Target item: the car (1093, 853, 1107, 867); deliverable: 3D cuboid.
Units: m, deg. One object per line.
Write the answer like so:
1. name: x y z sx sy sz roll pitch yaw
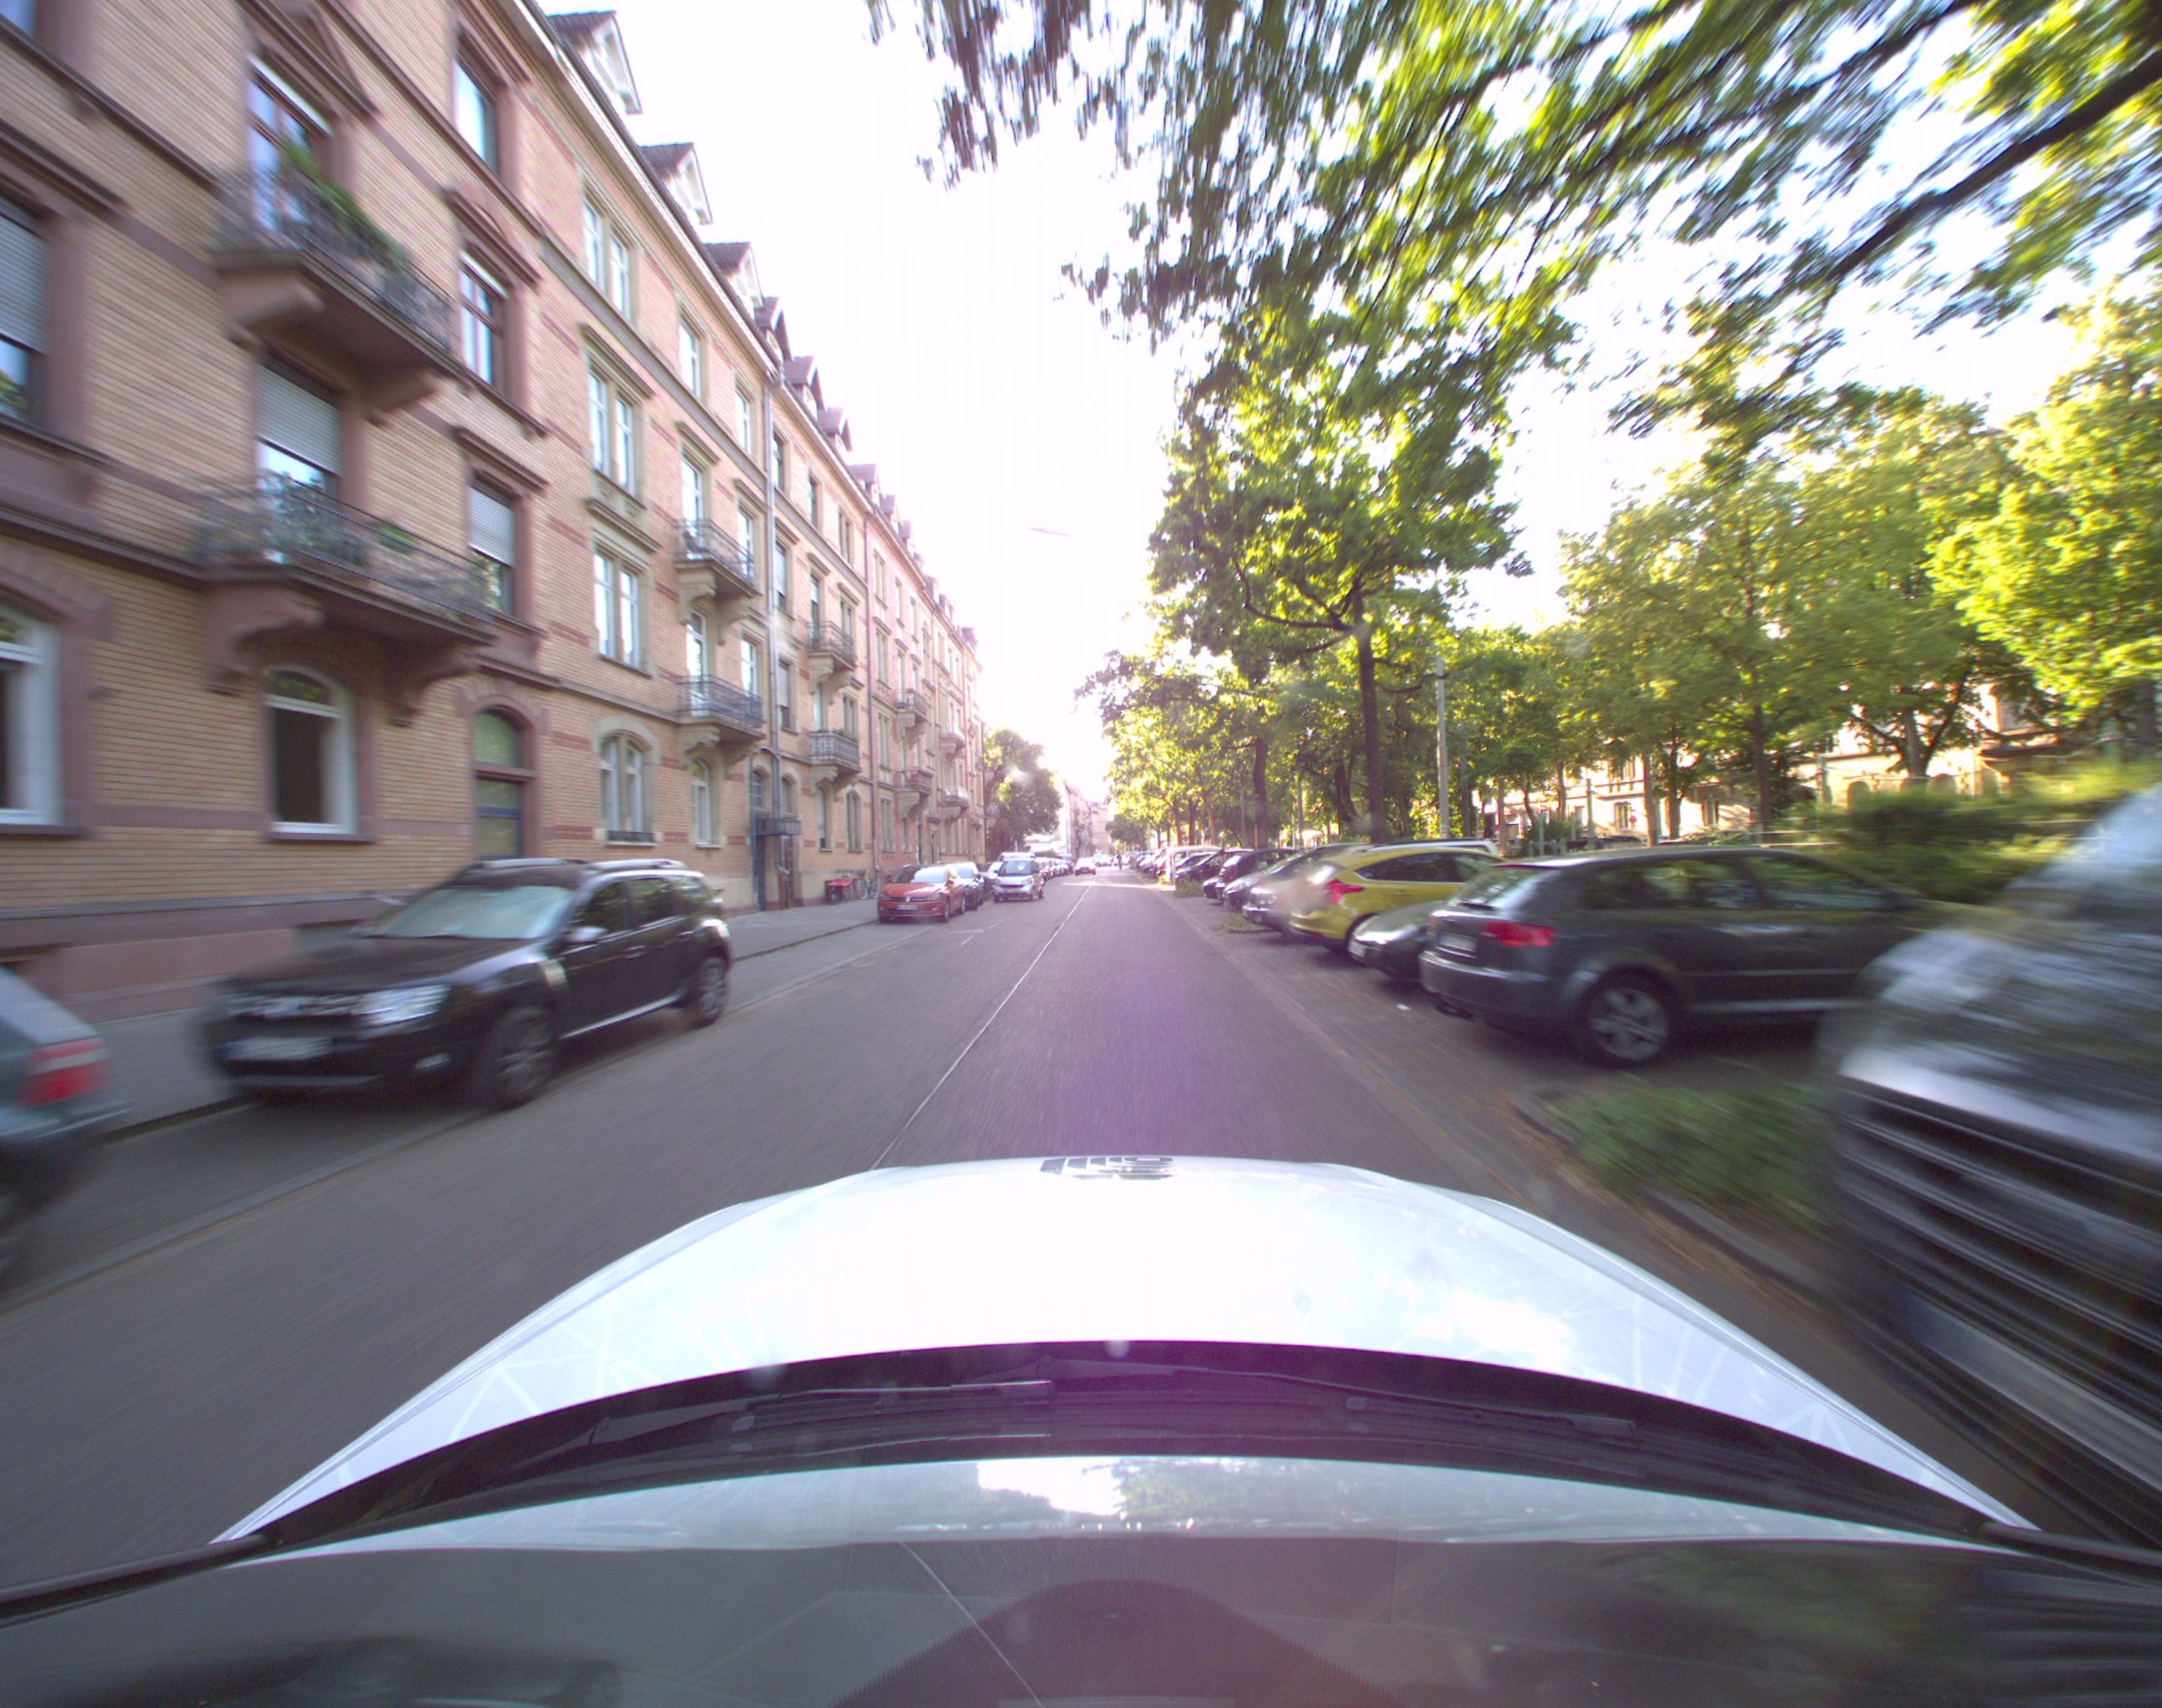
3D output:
1. car: 2.823 0.857 118.415 1.986 1.838 4.000 -1 -2 1

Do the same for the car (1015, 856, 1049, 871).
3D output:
1. car: -6.182 1.191 103.018 3.970 1.706 2.001 -1 -2 3

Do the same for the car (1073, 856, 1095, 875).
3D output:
1. car: 0.270 0.965 69.845 1.662 1.464 4.001 -3 0 1

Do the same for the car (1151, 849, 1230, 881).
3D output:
1. car: 6.170 0.620 46.249 4.202 1.453 1.866 -4 -1 3

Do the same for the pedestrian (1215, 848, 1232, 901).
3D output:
1. pedestrian: 4.388 0.635 25.038 0.377 1.584 0.522 -2 2 21

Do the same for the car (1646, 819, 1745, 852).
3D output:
1. car: 34.227 -1.000 45.463 3.971 1.684 2.001 -1 -2 2

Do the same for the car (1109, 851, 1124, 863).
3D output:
1. car: 5.185 0.476 120.027 1.774 1.674 4.481 -1 0 -3

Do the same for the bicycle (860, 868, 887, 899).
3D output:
1. bicycle: -7.969 1.133 31.280 0.424 1.130 1.771 -1 -2 6

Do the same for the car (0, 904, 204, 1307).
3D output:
1. car: -4.920 0.953 1.725 1.608 1.452 4.005 0 0 5

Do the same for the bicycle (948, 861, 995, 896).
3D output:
1. bicycle: -4.294 0.971 31.997 1.756 1.348 0.496 -1 -2 2

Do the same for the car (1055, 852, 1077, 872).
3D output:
1. car: -1.517 0.791 82.476 1.950 2.018 4.270 -1 0 2

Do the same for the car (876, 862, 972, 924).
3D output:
1. car: -4.073 0.962 21.745 1.747 1.464 4.000 0 0 0

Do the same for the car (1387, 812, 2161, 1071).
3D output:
1. car: 4.863 0.576 6.140 4.384 1.440 1.838 -3 -1 1

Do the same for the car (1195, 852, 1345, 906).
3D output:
1. car: 5.280 0.679 23.085 3.829 1.279 1.691 -3 -1 1

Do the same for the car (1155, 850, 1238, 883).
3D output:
1. car: 6.102 0.642 43.352 4.198 1.453 1.652 -4 -1 6

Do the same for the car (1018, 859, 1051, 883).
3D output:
1. car: -2.942 1.072 52.324 1.663 1.429 4.244 -1 0 3

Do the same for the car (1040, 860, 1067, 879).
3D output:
1. car: -2.279 1.279 68.287 1.748 1.466 4.274 -1 0 5

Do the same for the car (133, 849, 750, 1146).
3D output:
1. car: -4.597 0.846 6.853 1.745 1.706 4.202 -1 0 2

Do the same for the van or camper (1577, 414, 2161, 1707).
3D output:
1. van or camper: 4.182 0.290 1.316 5.389 2.027 2.032 -3 0 4

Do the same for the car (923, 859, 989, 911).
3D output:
1. car: -3.973 0.945 26.442 1.743 1.546 4.146 -1 -1 -4

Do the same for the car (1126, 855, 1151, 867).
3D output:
1. car: 10.178 1.222 143.630 3.959 2.014 2.007 -2 -2 13

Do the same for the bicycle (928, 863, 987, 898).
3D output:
1. bicycle: -4.491 0.957 29.534 2.091 1.215 0.439 -1 -2 -14

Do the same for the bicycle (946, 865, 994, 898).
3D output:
1. bicycle: -4.294 1.062 31.469 1.756 1.215 0.428 -1 -2 2

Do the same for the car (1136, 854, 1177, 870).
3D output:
1. car: 7.706 0.855 83.484 3.975 1.563 1.858 -1 -2 -1

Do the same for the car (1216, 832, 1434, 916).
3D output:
1. car: 5.417 0.450 18.508 4.381 1.591 1.839 -3 -1 3

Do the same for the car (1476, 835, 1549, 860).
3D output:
1. car: 32.051 -0.454 60.662 4.656 1.684 2.011 -2 -2 25

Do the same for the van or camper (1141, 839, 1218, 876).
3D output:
1. van or camper: 6.701 0.270 55.884 4.965 2.377 2.185 -1 -2 0

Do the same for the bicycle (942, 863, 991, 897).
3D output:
1. bicycle: -4.271 0.979 30.444 1.756 1.215 0.442 -1 -2 2

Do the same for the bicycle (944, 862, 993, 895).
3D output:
1. bicycle: -4.267 0.936 30.961 1.756 1.215 0.464 -1 -2 2

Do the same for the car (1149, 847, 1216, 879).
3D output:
1. car: 6.367 0.555 51.325 3.970 1.691 1.861 -4 -1 3

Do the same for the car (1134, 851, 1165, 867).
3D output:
1. car: 9.473 0.713 112.090 3.959 2.014 2.007 -2 -2 13

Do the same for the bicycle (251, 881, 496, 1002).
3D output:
1. bicycle: -8.656 1.000 10.177 0.733 1.206 2.516 -1 0 3

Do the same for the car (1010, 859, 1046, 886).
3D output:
1. car: -3.017 1.017 47.089 1.663 1.486 4.001 0 0 1

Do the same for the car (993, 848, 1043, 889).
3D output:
1. car: -3.150 0.779 41.566 1.986 1.921 5.040 -1 -2 1

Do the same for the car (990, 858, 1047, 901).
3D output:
1. car: -2.281 0.902 30.316 1.496 1.435 2.758 -3 0 7

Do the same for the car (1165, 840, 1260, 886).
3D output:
1. car: 6.202 0.410 38.797 4.202 1.864 1.763 -4 -1 3

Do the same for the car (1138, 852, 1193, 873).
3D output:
1. car: 7.075 0.712 68.492 4.376 1.700 1.858 -1 -2 -1

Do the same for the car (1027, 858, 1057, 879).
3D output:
1. car: -2.753 1.029 57.760 1.696 1.429 3.881 0 0 4

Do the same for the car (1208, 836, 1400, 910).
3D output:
1. car: 5.689 0.488 21.103 4.389 1.591 1.836 -3 -1 -3

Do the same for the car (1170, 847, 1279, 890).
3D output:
1. car: 5.838 0.597 33.414 4.069 1.442 1.761 -4 -1 -1

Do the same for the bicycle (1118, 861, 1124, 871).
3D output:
1. bicycle: 4.301 1.302 88.089 0.639 1.100 1.944 -1 -2 1

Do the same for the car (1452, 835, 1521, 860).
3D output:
1. car: 31.576 -0.491 63.493 4.656 1.684 2.011 -2 -2 25

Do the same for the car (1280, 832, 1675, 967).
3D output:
1. car: 5.081 0.586 10.976 4.379 1.440 1.840 -3 -1 4

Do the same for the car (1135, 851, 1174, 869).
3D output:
1. car: 7.727 0.682 86.161 3.975 1.794 1.858 -1 -2 -1

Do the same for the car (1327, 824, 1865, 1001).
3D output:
1. car: 5.039 0.577 8.536 4.379 1.440 1.840 -3 -1 4

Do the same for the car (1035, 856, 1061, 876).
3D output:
1. car: -2.570 0.926 63.814 1.750 1.515 4.162 -1 0 1

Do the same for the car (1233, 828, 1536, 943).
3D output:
1. car: 4.933 0.514 13.742 4.383 1.591 1.838 -3 -1 1

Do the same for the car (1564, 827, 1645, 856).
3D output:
1. car: 33.274 -0.769 51.891 3.952 1.684 2.010 -2 -2 22

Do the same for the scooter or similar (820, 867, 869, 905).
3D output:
1. scooter or similar: -8.161 1.099 28.202 0.780 1.222 2.705 -1 -2 2

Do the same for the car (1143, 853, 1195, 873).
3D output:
1. car: 7.075 0.740 65.872 3.975 1.548 1.858 -1 -2 -1

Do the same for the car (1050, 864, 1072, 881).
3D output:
1. car: -1.847 1.721 76.937 1.749 1.466 4.270 -1 0 2

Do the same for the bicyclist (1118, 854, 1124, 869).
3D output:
1. bicyclist: 4.293 0.845 88.052 0.625 1.573 0.802 -1 -2 1

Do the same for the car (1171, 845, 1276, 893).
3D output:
1. car: 5.321 0.549 30.826 3.659 1.501 1.763 -4 -1 3

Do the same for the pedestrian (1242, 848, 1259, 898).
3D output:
1. pedestrian: 5.332 0.593 25.596 0.377 1.516 0.522 -2 2 21

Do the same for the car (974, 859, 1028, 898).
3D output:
1. car: -3.446 1.025 35.699 1.667 1.454 4.213 -3 0 3
